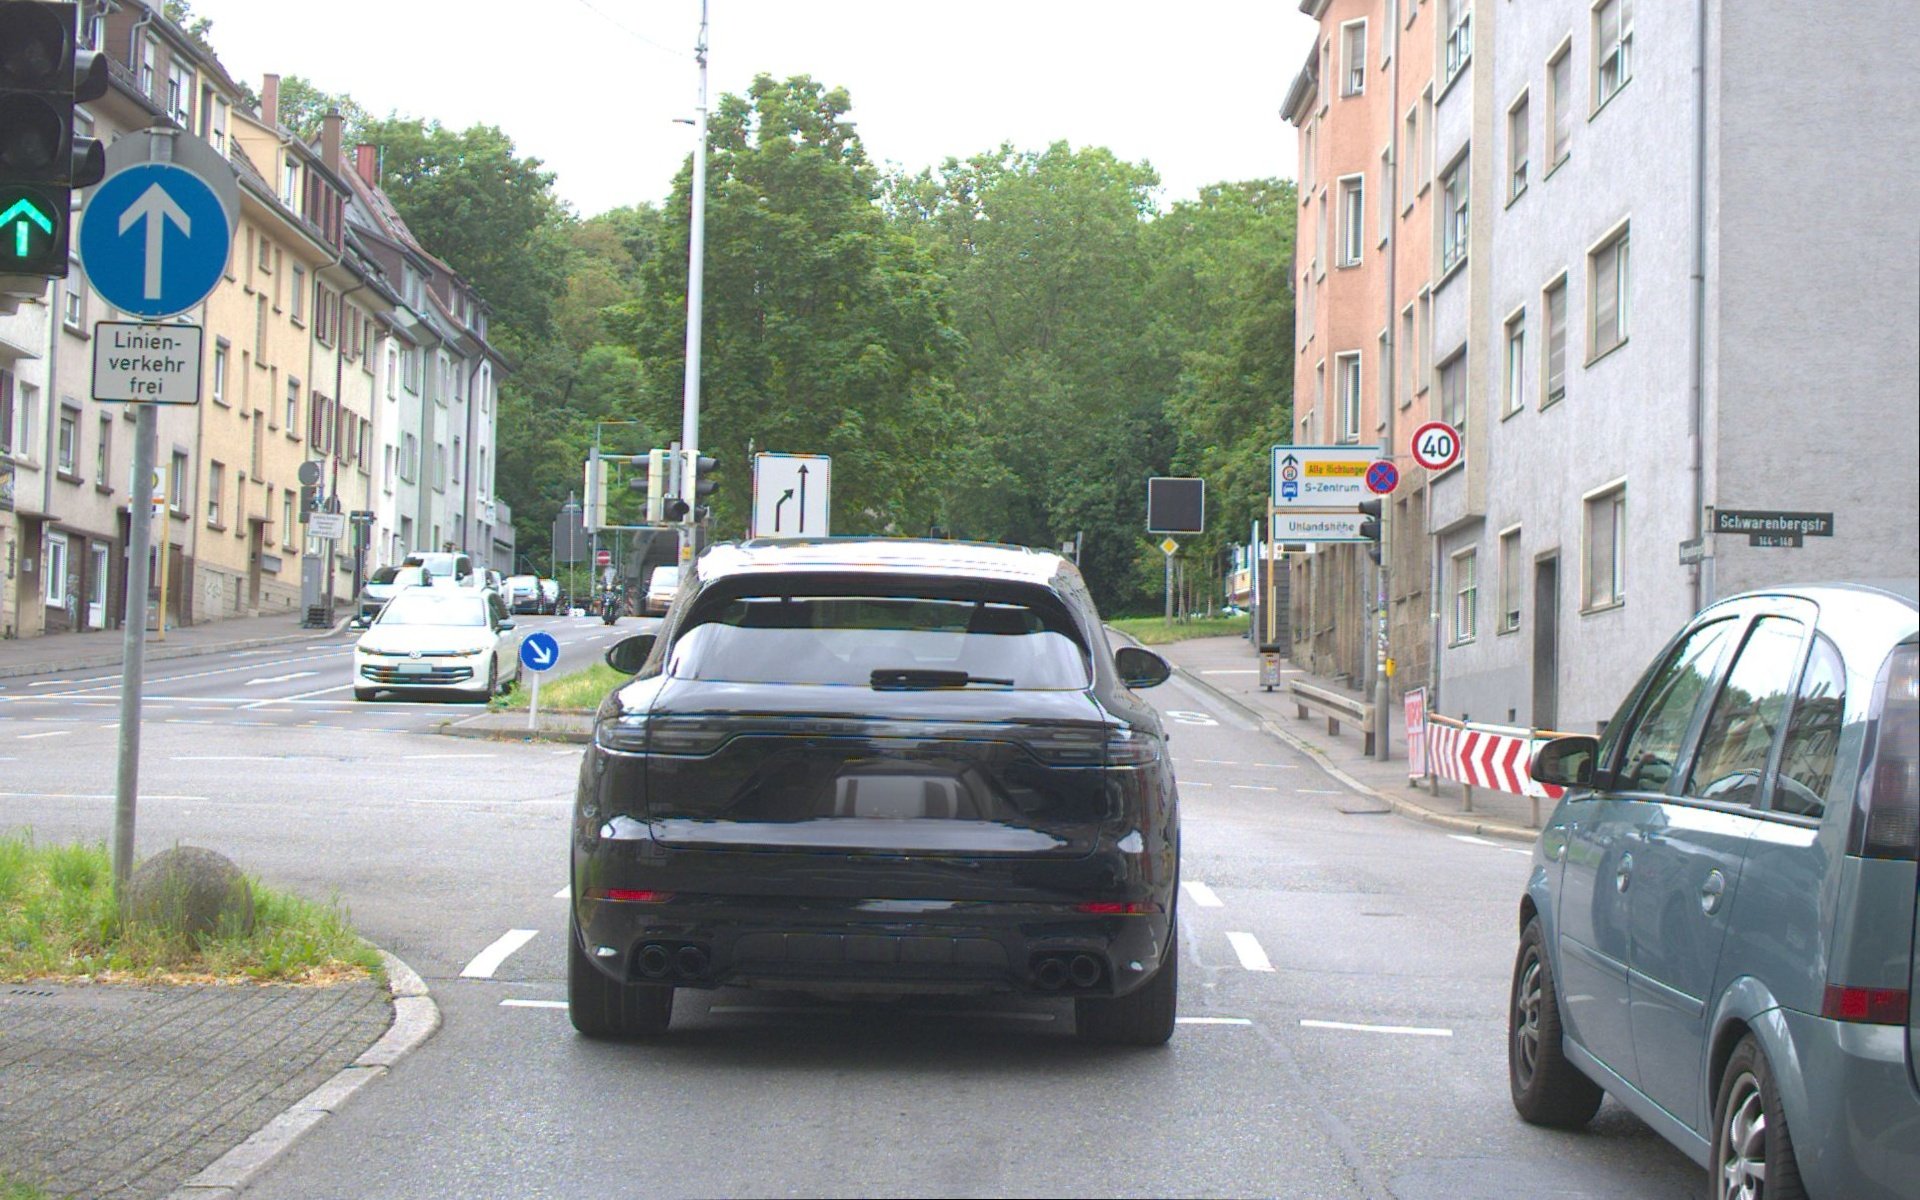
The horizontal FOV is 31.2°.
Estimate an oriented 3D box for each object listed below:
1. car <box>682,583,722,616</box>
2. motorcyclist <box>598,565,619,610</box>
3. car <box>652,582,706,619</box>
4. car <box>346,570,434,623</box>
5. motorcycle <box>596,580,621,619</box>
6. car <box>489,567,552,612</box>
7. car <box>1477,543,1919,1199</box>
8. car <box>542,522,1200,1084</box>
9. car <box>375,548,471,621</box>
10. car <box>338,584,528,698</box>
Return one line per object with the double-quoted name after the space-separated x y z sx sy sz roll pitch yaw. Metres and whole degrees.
-11.127 -0.050 148.443 1.489 1.371 3.244 1 0 0 "car"
-9.650 -0.351 94.420 0.511 1.222 0.467 1 0 0 "motorcyclist"
-9.746 0.010 119.321 1.551 1.253 3.662 1 0 0 "car"
-15.441 -0.110 93.337 1.739 1.382 3.813 1 0 0 "car"
-9.656 -0.018 94.416 0.511 1.037 1.389 1 0 0 "motorcycle"
-15.328 -0.368 119.931 1.689 1.533 3.813 1 0 0 "car"
2.436 0.731 8.440 1.628 1.592 3.669 4 0 -1 "car"
-0.291 0.595 12.298 1.955 1.669 4.000 1 0 -1 "car"
-15.449 -0.454 99.201 2.016 2.038 4.667 1 0 0 "car"
-6.862 0.504 45.145 1.862 1.383 4.094 1 0 0 "car"
